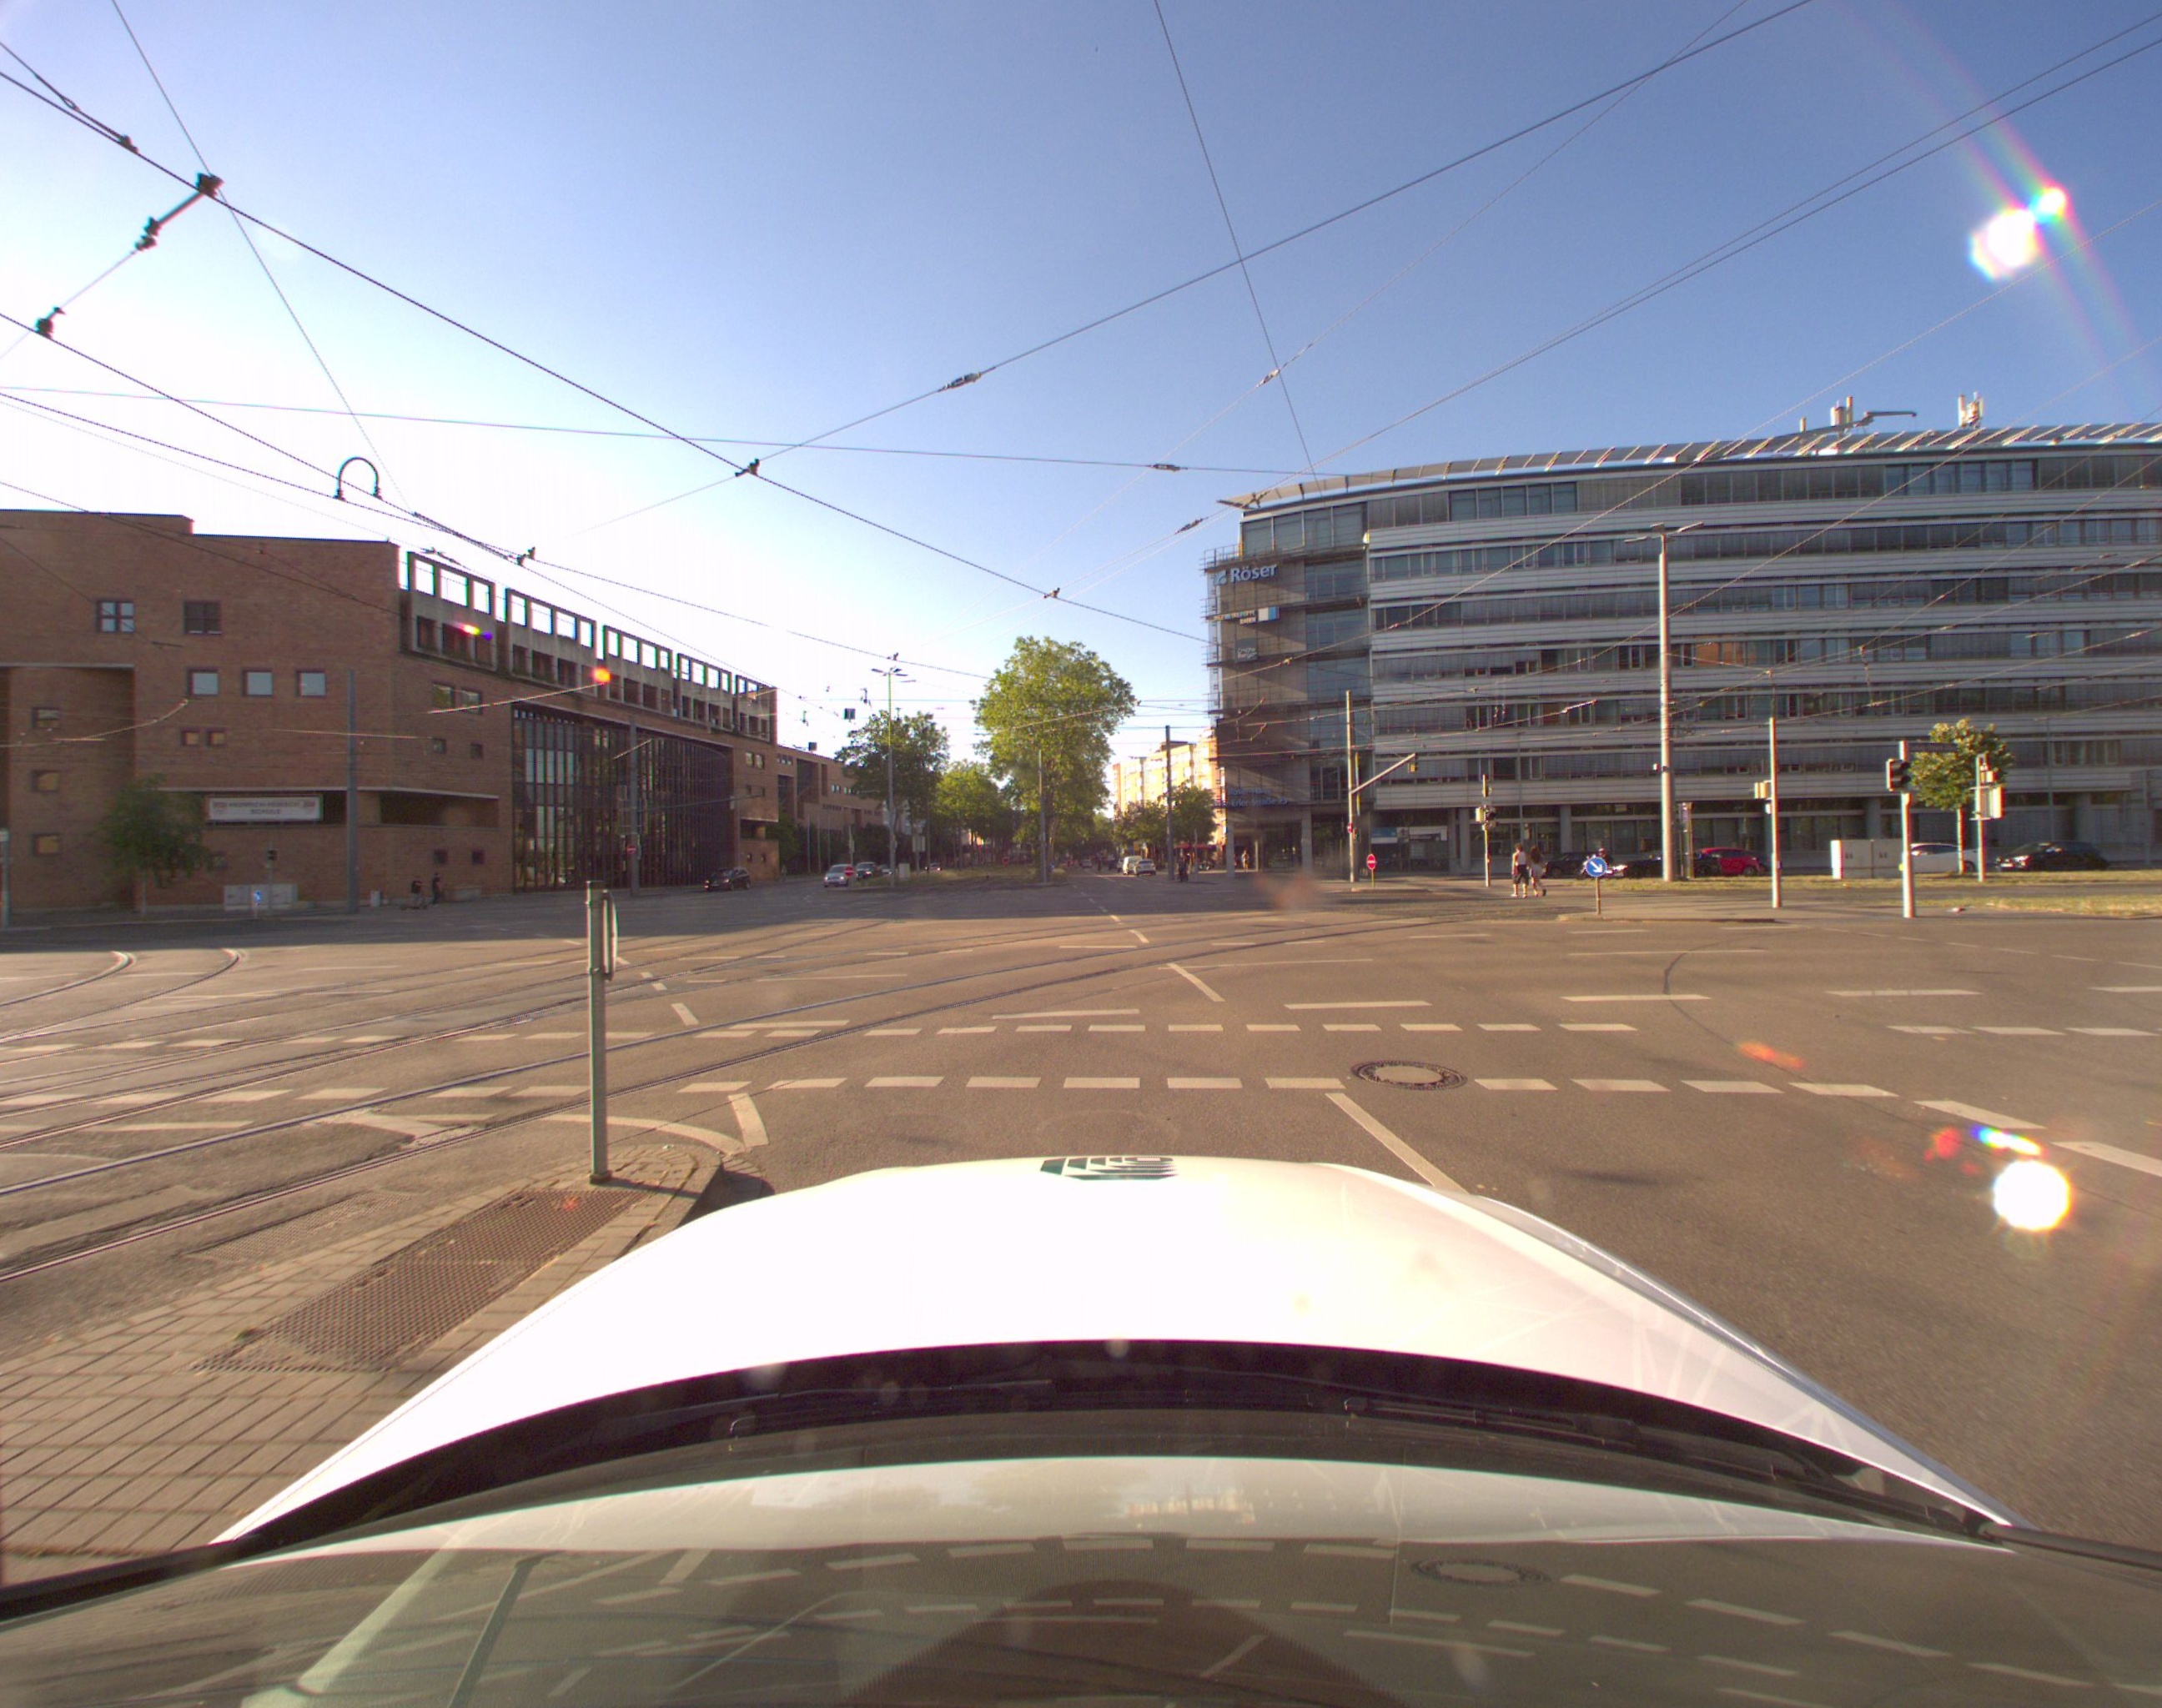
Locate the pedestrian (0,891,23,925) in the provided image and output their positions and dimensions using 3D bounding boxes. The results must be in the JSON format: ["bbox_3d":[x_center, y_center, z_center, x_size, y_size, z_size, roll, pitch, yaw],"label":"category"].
[{"bbox_3d":[-49.677,2.489,37.546,0.845,1.539,0.716,-1,-1,4],"label":"pedestrian"}]

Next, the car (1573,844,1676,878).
[{"bbox_3d":[27.030,0.360,40.638,3.828,1.621,1.910,-1,-1,11],"label":"car"}]

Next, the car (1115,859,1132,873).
[{"bbox_3d":[5.041,1.371,96.873,1.847,1.552,4.325,-2,-1,0],"label":"car"}]

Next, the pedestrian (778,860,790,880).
[{"bbox_3d":[-30.247,1.658,83.007,0.892,2.014,0.759,-1,-1,6],"label":"pedestrian"}]

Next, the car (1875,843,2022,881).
[{"bbox_3d":[38.453,0.352,36.205,4.131,1.621,1.910,-1,-1,11],"label":"car"}]

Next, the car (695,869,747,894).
[{"bbox_3d":[-26.508,2.017,60.165,1.828,1.654,4.498,-2,-1,-1],"label":"car"}]

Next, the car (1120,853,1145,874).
[{"bbox_3d":[5.125,0.972,81.206,1.989,2.014,4.381,-2,-1,-3],"label":"car"}]

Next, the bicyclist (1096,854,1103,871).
[{"bbox_3d":[2.201,0.989,96.223,0.748,2.014,0.745,0,-1,7],"label":"bicyclist"}]

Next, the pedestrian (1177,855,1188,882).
[{"bbox_3d":[6.959,0.984,55.730,0.544,1.824,0.586,-1,-1,-17],"label":"pedestrian"}]

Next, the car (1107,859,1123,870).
[{"bbox_3d":[4.976,1.542,118.361,2.253,1.552,4.328,-2,-1,2],"label":"car"}]

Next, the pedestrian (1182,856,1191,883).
[{"bbox_3d":[7.142,1.054,54.920,0.374,1.824,0.543,-1,-1,-17],"label":"pedestrian"}]

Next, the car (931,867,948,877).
[{"bbox_3d":[-18.513,2.293,106.263,1.844,1.222,3.981,-1,-1,-14],"label":"car"}]

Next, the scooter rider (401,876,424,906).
[{"bbox_3d":[-33.587,1.864,40.923,0.720,1.461,0.506,-1,-1,-12],"label":"scooter rider"}]

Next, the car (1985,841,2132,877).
[{"bbox_3d":[45.658,0.225,38.143,4.131,1.621,1.910,-1,-1,11],"label":"car"}]

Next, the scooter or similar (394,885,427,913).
[{"bbox_3d":[-33.656,2.242,40.899,1.130,1.318,0.527,-1,-1,-13],"label":"scooter or similar"}]

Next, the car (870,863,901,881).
[{"bbox_3d":[-18.006,1.651,75.211,1.848,1.552,4.323,-2,-1,-1],"label":"car"}]

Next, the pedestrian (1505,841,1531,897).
[{"bbox_3d":[14.818,0.499,27.637,0.690,1.842,0.972,-2,-1,28],"label":"pedestrian"}]

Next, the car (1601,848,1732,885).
[{"bbox_3d":[26.771,0.586,37.399,4.480,1.621,1.910,-1,-1,11],"label":"car"}]

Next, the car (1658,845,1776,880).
[{"bbox_3d":[31.052,0.411,39.900,4.131,1.621,1.910,-1,-1,11],"label":"car"}]

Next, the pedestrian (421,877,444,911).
[{"bbox_3d":[-34.150,2.089,42.893,0.656,1.716,0.829,-2,-1,39],"label":"pedestrian"}]

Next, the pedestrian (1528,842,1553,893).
[{"bbox_3d":[15.544,0.451,27.572,0.640,1.688,0.851,-2,-1,27],"label":"pedestrian"}]

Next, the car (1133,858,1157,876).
[{"bbox_3d":[5.854,1.183,74.491,1.847,1.552,4.325,-2,-1,0],"label":"car"}]

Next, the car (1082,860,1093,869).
[{"bbox_3d":[1.190,1.809,147.743,1.846,1.552,4.327,-2,-1,2],"label":"car"}]

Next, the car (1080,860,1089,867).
[{"bbox_3d":[0.746,2.126,186.550,1.846,1.552,4.327,-2,-1,2],"label":"car"}]

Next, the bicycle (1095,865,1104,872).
[{"bbox_3d":[2.212,1.733,96.219,0.813,0.774,1.733,-2,-1,7],"label":"bicycle"}]

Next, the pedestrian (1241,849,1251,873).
[{"bbox_3d":[14.022,0.585,69.327,0.671,2.014,0.515,-2,-1,1],"label":"pedestrian"}]

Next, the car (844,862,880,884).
[{"bbox_3d":[-17.983,1.534,67.031,1.848,1.650,4.323,-2,-1,-1],"label":"car"}]

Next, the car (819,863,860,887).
[{"bbox_3d":[-17.660,1.522,59.791,1.725,1.597,4.323,-2,-1,-1],"label":"car"}]

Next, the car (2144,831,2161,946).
[{"bbox_3d":[17.512,0.456,11.564,4.266,1.632,1.852,-1,-1,-22],"label":"car"}]

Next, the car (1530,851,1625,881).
[{"bbox_3d":[27.634,0.646,45.429,4.131,1.621,1.910,-1,-1,11],"label":"car"}]
